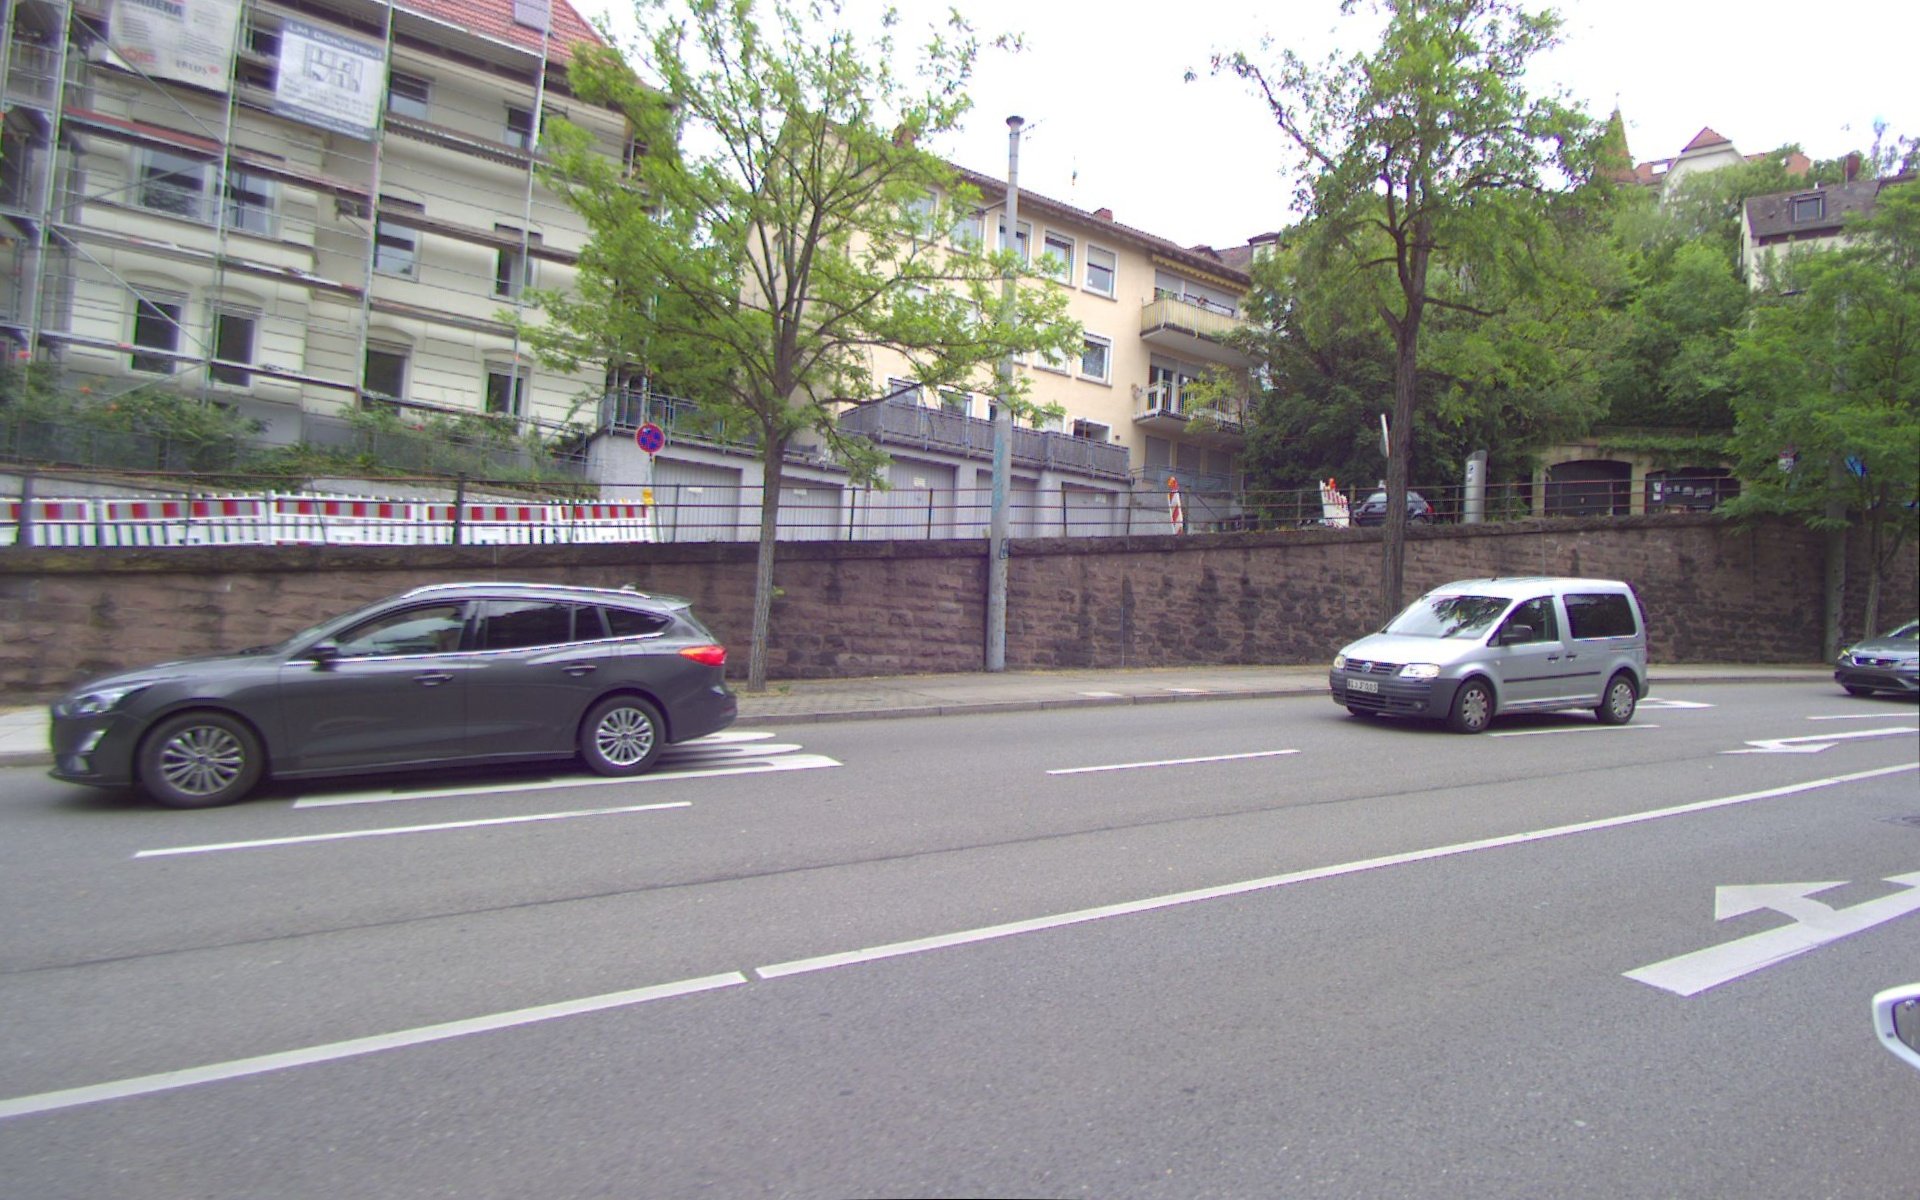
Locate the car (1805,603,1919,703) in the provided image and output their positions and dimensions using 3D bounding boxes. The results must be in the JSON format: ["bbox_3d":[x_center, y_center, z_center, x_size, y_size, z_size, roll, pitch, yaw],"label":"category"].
[{"bbox_3d":[16.576,0.808,16.486,4.323,1.486,1.785,0,1,-10],"label":"car"}]

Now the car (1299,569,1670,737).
[{"bbox_3d":[6.685,0.591,12.789,4.388,1.838,1.851,1,2,-25],"label":"car"}]

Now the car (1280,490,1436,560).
[{"bbox_3d":[11.484,-2.114,29.022,4.001,1.662,1.767,2,0,-18],"label":"car"}]

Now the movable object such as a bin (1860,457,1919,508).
[{"bbox_3d":[29.804,-3.703,31.718,1.572,1.373,1.254,-1,-2,7],"label":"movable object such as a bin"}]

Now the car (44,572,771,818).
[{"bbox_3d":[-3.951,0.591,7.929,4.556,1.493,1.649,1,1,-29],"label":"car"}]
